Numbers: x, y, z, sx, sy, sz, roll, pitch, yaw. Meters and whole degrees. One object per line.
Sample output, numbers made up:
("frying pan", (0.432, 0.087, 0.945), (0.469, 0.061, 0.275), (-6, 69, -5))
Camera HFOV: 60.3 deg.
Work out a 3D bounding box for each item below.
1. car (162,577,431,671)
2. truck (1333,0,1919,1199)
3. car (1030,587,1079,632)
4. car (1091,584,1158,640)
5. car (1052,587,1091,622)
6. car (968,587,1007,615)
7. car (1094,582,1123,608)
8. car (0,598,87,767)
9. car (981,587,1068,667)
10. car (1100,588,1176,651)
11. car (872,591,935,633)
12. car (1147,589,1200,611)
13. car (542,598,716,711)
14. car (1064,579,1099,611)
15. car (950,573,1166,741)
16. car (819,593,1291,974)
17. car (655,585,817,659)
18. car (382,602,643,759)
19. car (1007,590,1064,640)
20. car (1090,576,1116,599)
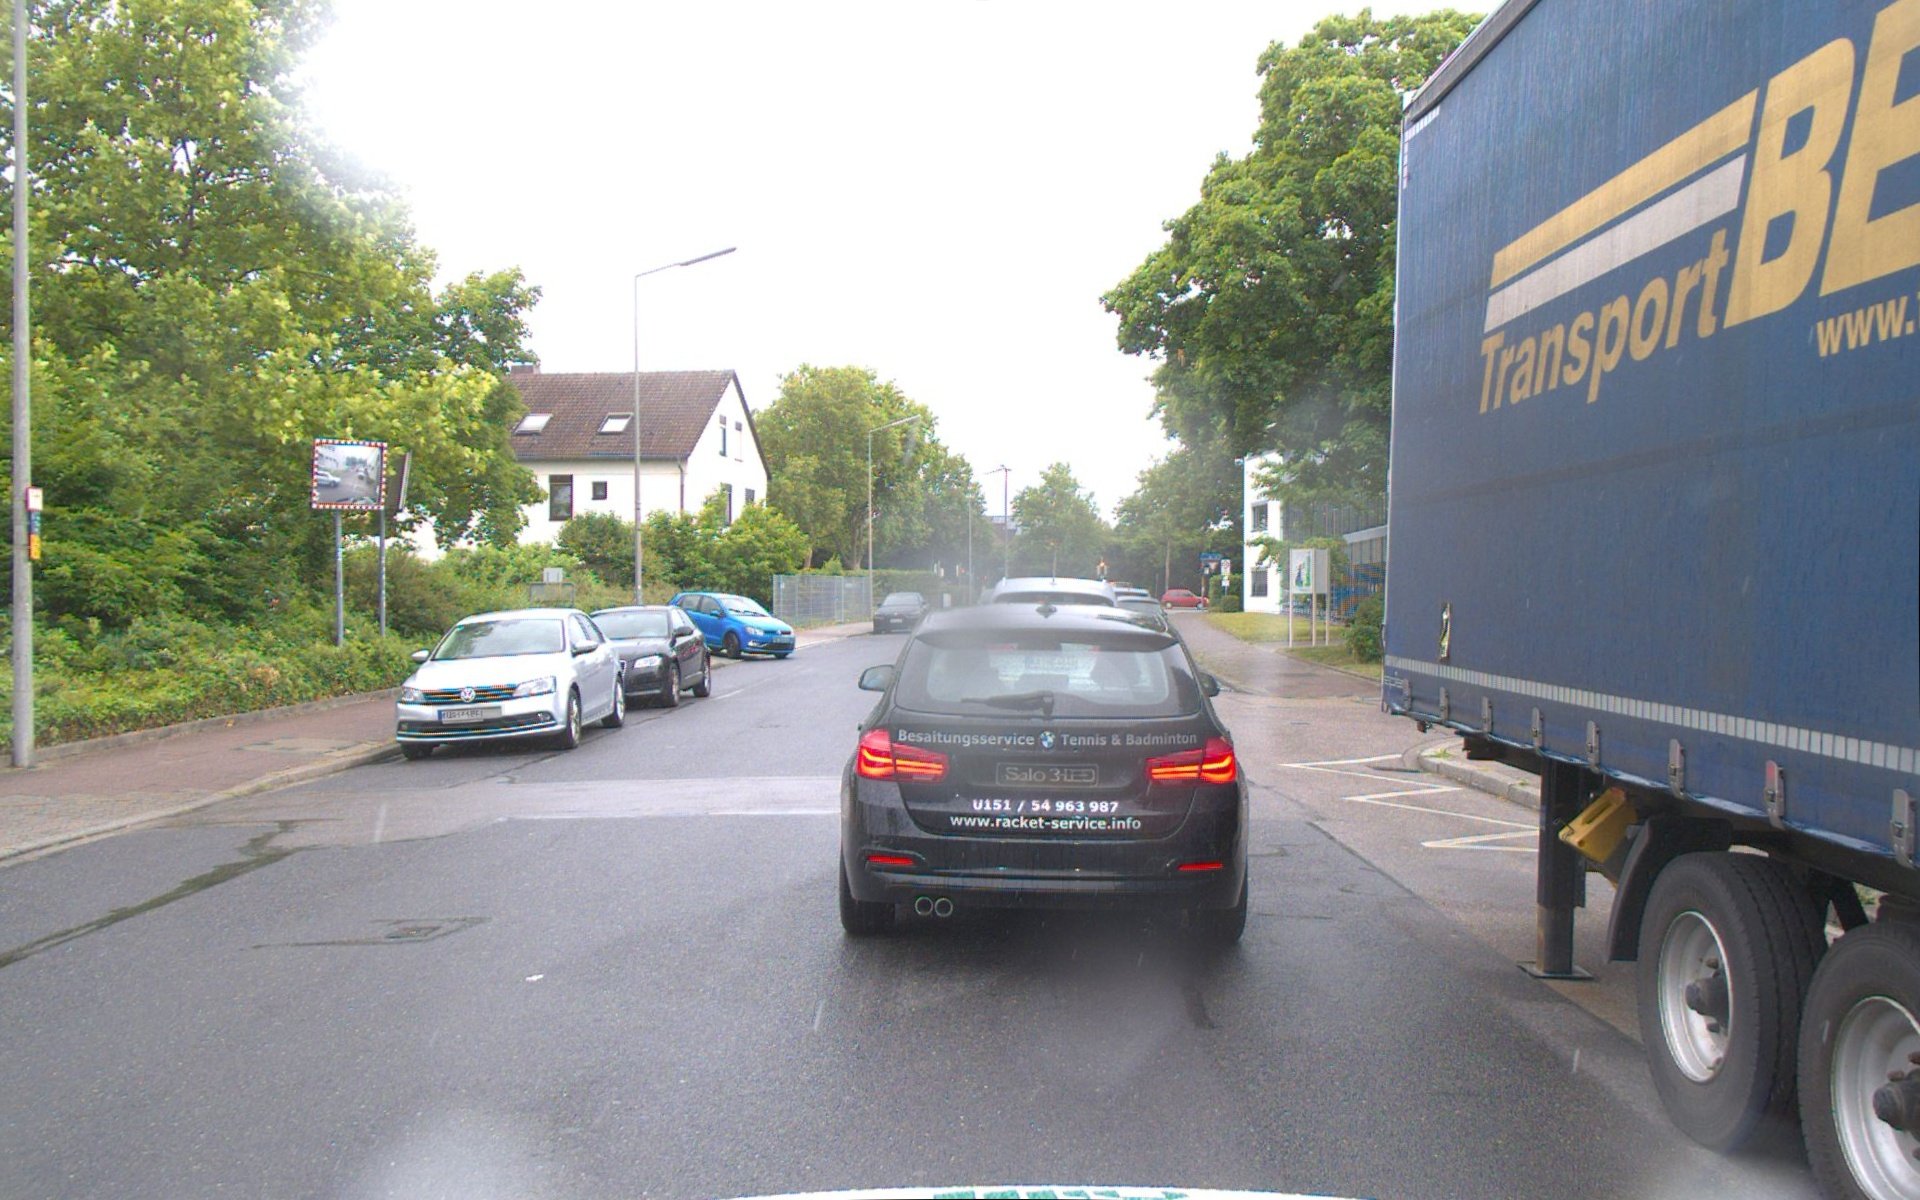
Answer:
("car", (-11.415, 0.396, 28.670), (3.907, 1.567, 1.910), (0, 0, -3))
("truck", (3.319, -0.489, 4.448), (2.685, 3.674, 7.749), (2, 0, -1))
("car", (3.627, 0.362, 62.786), (1.766, 1.614, 4.002), (1, 0, 4))
("car", (4.961, 0.345, 50.262), (1.767, 1.614, 4.001), (1, 0, 2))
("car", (5.313, 0.226, 78.464), (1.766, 1.614, 4.002), (1, 0, 4))
("car", (1.559, 0.042, 92.457), (1.669, 1.391, 3.841), (-2, 1, 7))
("car", (9.280, -0.324, 103.658), (1.766, 1.614, 4.002), (0, 0, 4))
("car", (-10.342, 0.698, 15.366), (3.498, 1.485, 1.712), (2, 0, -2))
("car", (1.413, 0.563, 36.200), (1.767, 1.614, 4.001), (1, 0, 2))
("car", (4.771, 0.506, 44.725), (1.767, 1.614, 4.001), (1, 0, 2))
("car", (-2.051, 0.417, 60.784), (1.669, 1.391, 3.841), (-2, 1, 7))
("car", (15.821, 0.016, 122.457), (3.743, 1.613, 1.713), (0, 1, 10))
("car", (-4.669, 0.724, 23.844), (1.671, 1.391, 3.838), (-2, 0, 0))
("car", (6.321, -0.248, 85.810), (1.766, 1.614, 4.002), (0, 0, 4))
("car", (0.947, 0.563, 18.068), (1.769, 1.614, 3.995), (1, 0, -5))
("car", (0.368, 0.699, 8.243), (1.767, 1.419, 4.000), (1, 0, 0))
("car", (-5.414, 0.530, 39.732), (3.765, 1.622, 1.703), (-2, 0, 39))
("car", (-4.750, 0.779, 18.220), (1.671, 1.391, 4.600), (-2, 1, -1))
("car", (2.568, 0.492, 55.770), (1.766, 1.614, 4.002), (1, 0, 4))
("car", (9.990, -0.892, 115.837), (1.766, 1.614, 4.002), (0, 0, 4))
